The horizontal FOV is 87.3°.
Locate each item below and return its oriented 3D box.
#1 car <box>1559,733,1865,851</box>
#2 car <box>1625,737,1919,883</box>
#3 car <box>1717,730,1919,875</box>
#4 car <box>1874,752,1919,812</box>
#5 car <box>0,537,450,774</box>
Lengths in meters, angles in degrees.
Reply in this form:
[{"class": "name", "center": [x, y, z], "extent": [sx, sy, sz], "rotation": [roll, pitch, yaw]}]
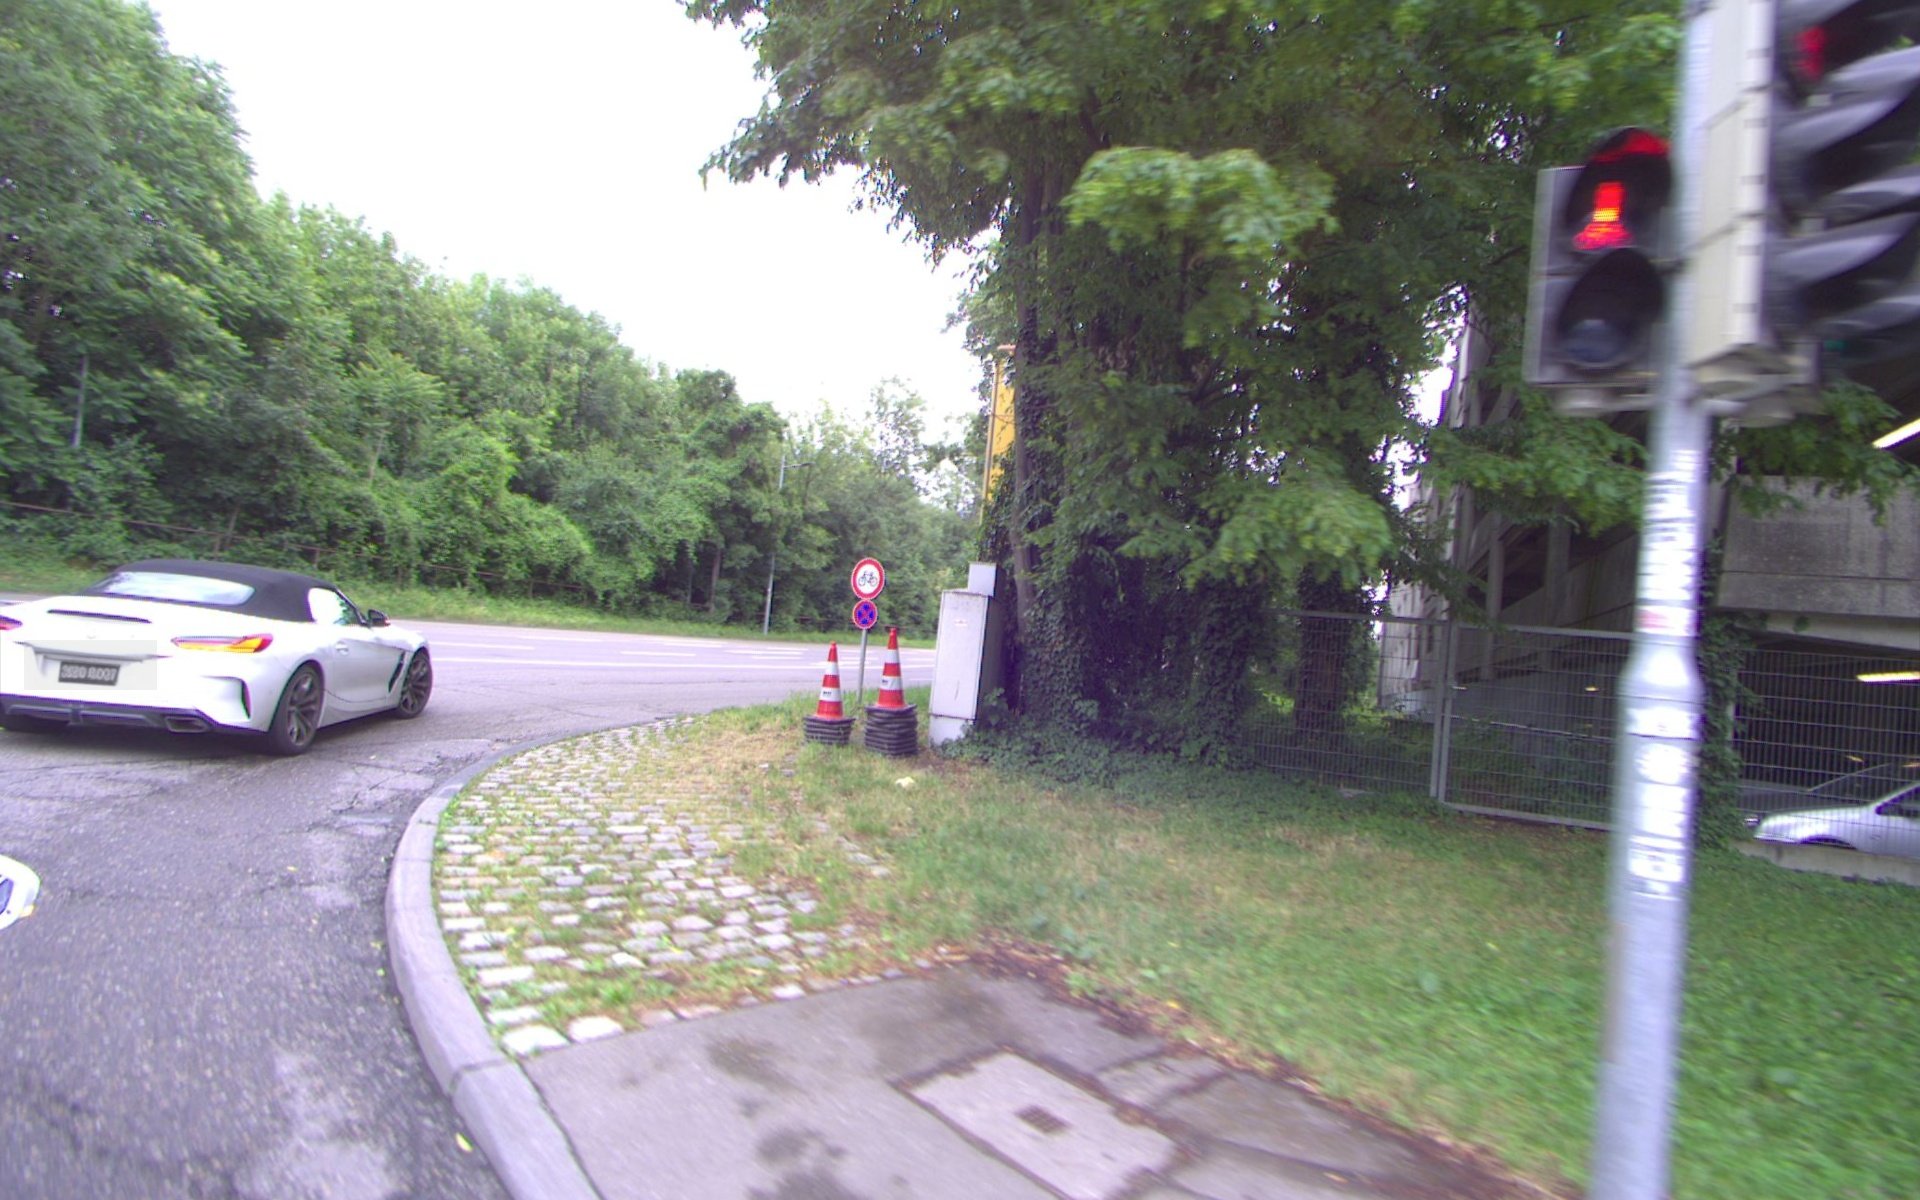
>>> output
[{"class": "car", "center": [11.914, 3.010, 16.227], "extent": [3.575, 1.175, 1.622], "rotation": [5, -2, 24]}, {"class": "car", "center": [10.150, 2.476, 11.817], "extent": [3.575, 1.175, 1.622], "rotation": [5, -2, 24]}, {"class": "car", "center": [9.472, 2.044, 9.610], "extent": [3.195, 1.099, 1.539], "rotation": [6, -2, 22]}, {"class": "car", "center": [27.259, 5.079, 26.667], "extent": [3.997, 1.432, 1.827], "rotation": [5, -2, 21]}, {"class": "car", "center": [-5.788, 0.374, 8.151], "extent": [1.850, 1.324, 3.867], "rotation": [7, -2, -11]}]
